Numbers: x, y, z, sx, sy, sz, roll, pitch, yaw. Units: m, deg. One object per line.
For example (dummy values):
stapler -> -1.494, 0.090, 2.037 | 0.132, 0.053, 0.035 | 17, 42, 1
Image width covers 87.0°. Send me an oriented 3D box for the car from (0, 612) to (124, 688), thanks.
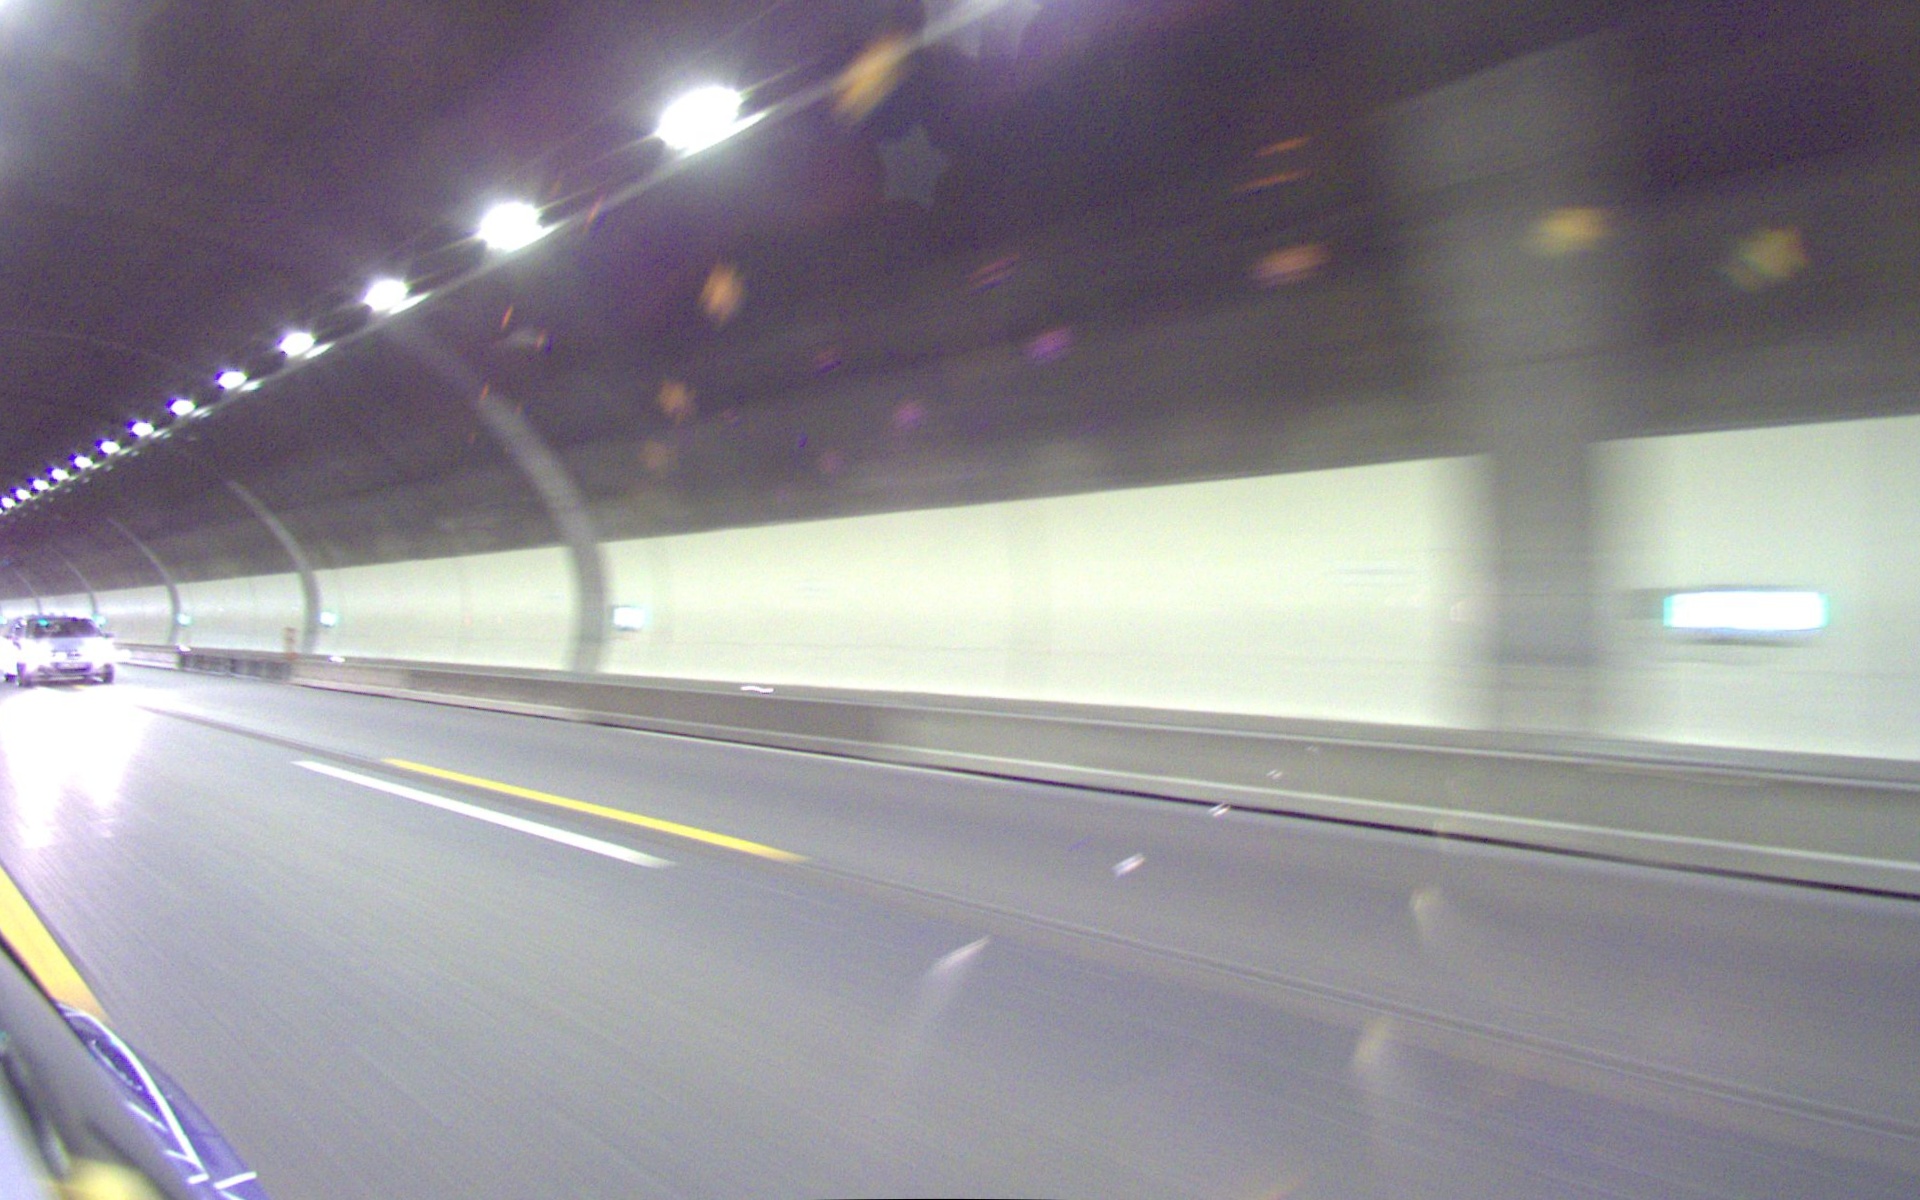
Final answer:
car -> -20.886, 1.086, 23.319 | 4.093, 1.584, 1.744 | -1, 0, 39
